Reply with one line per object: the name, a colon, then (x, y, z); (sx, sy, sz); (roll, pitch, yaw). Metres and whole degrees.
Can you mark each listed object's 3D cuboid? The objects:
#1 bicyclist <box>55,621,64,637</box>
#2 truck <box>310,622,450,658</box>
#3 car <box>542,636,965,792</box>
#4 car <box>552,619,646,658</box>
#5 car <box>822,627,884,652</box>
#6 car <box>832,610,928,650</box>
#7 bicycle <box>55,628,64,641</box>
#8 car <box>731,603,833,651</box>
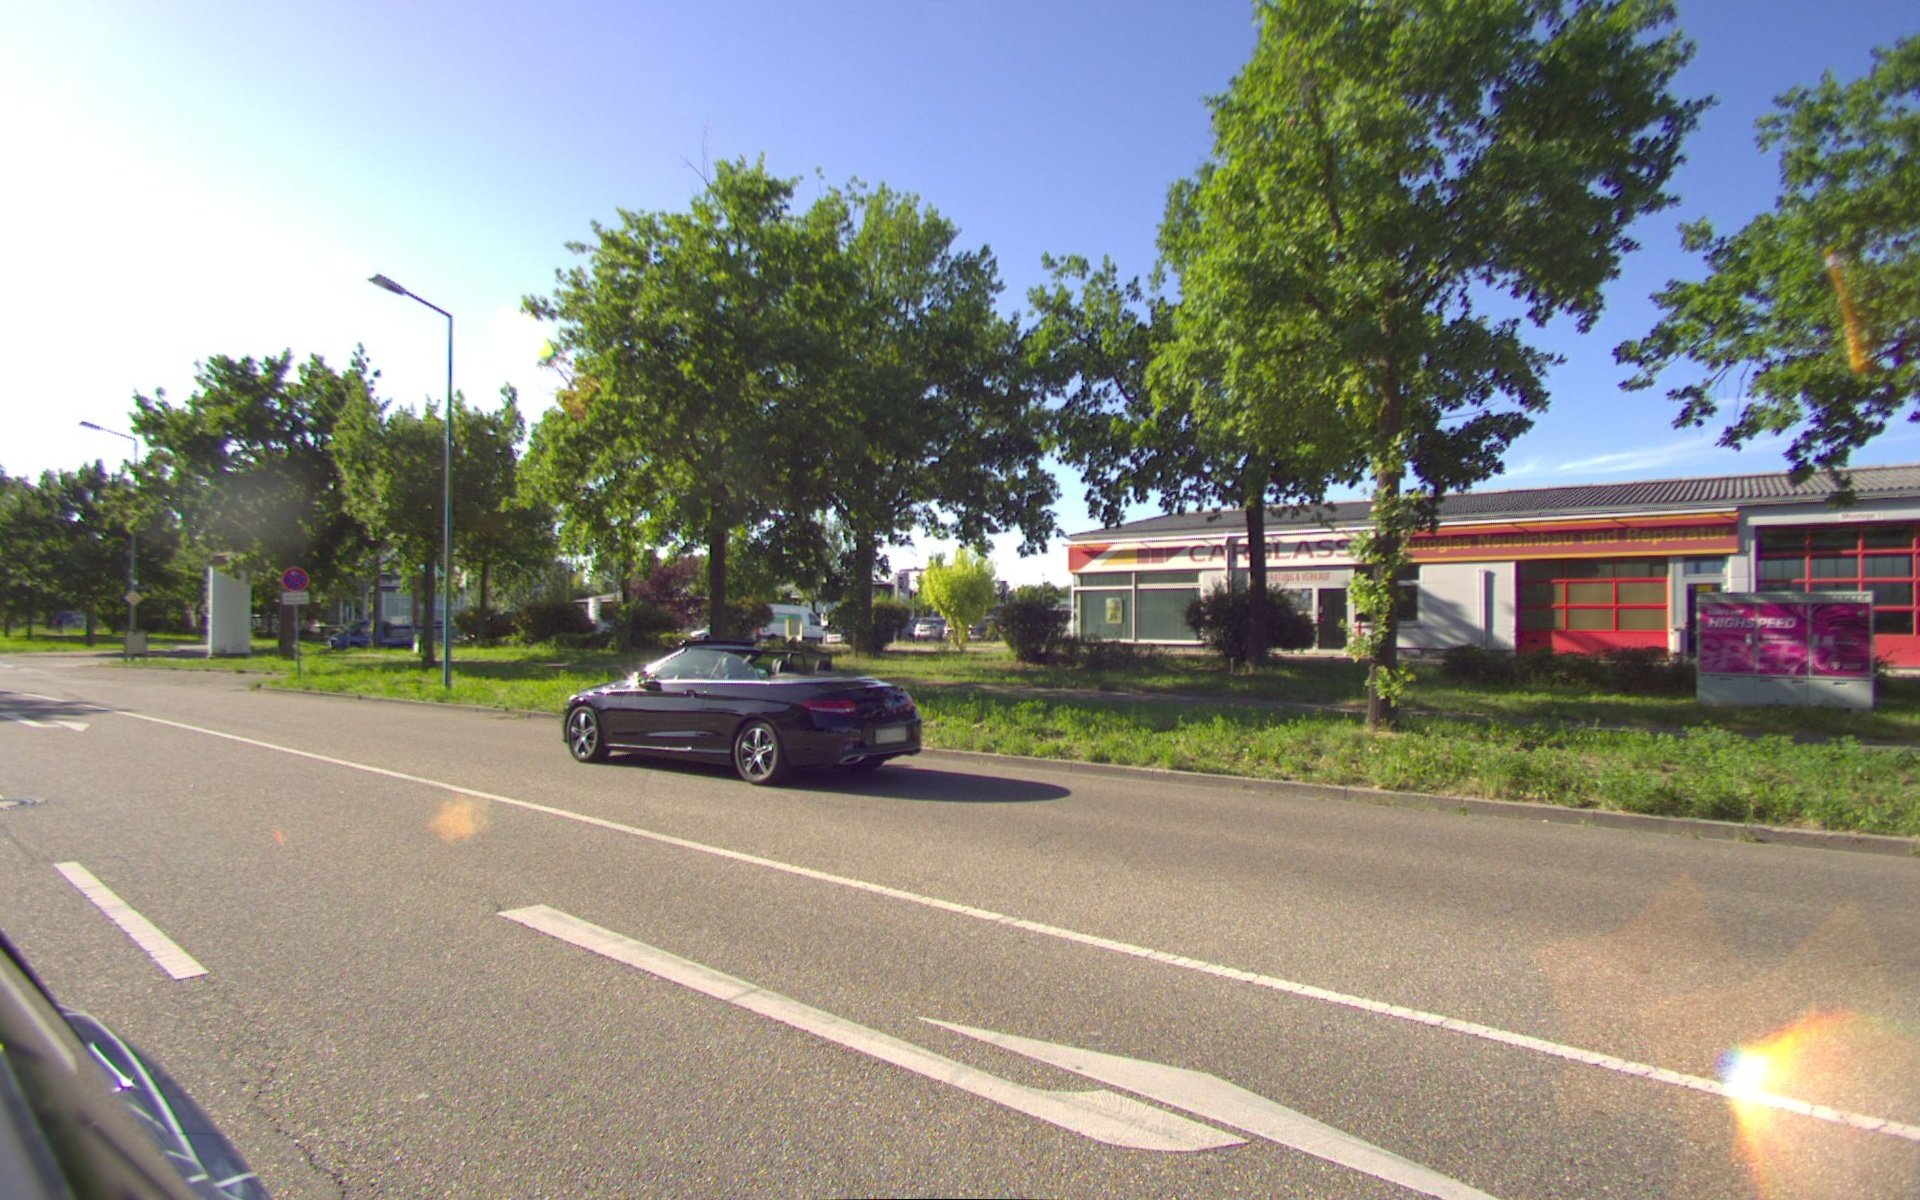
bicyclist: (-90.626, 2.898, 101.833); (0.659, 1.641, 0.657); (-1, 0, 43)
truck: (-35.041, 2.411, 61.395); (2.138, 2.065, 7.043); (0, -2, 38)
car: (-2.391, 1.143, 11.290); (4.575, 1.414, 1.977); (-1, -5, 34)
car: (-26.151, 2.751, 73.581); (2.297, 2.535, 6.280); (0, 0, 37)
car: (-6.119, 2.250, 58.046); (1.572, 1.312, 3.489); (-1, -2, 38)
car: (-4.294, 1.623, 55.328); (2.297, 2.085, 5.359); (-1, -2, 37)
bicycle: (-90.595, 3.466, 101.813); (2.334, 1.170, 0.545); (0, 0, 43)
car: (-10.609, 1.559, 60.750); (2.297, 2.723, 6.102); (0, 0, 37)
